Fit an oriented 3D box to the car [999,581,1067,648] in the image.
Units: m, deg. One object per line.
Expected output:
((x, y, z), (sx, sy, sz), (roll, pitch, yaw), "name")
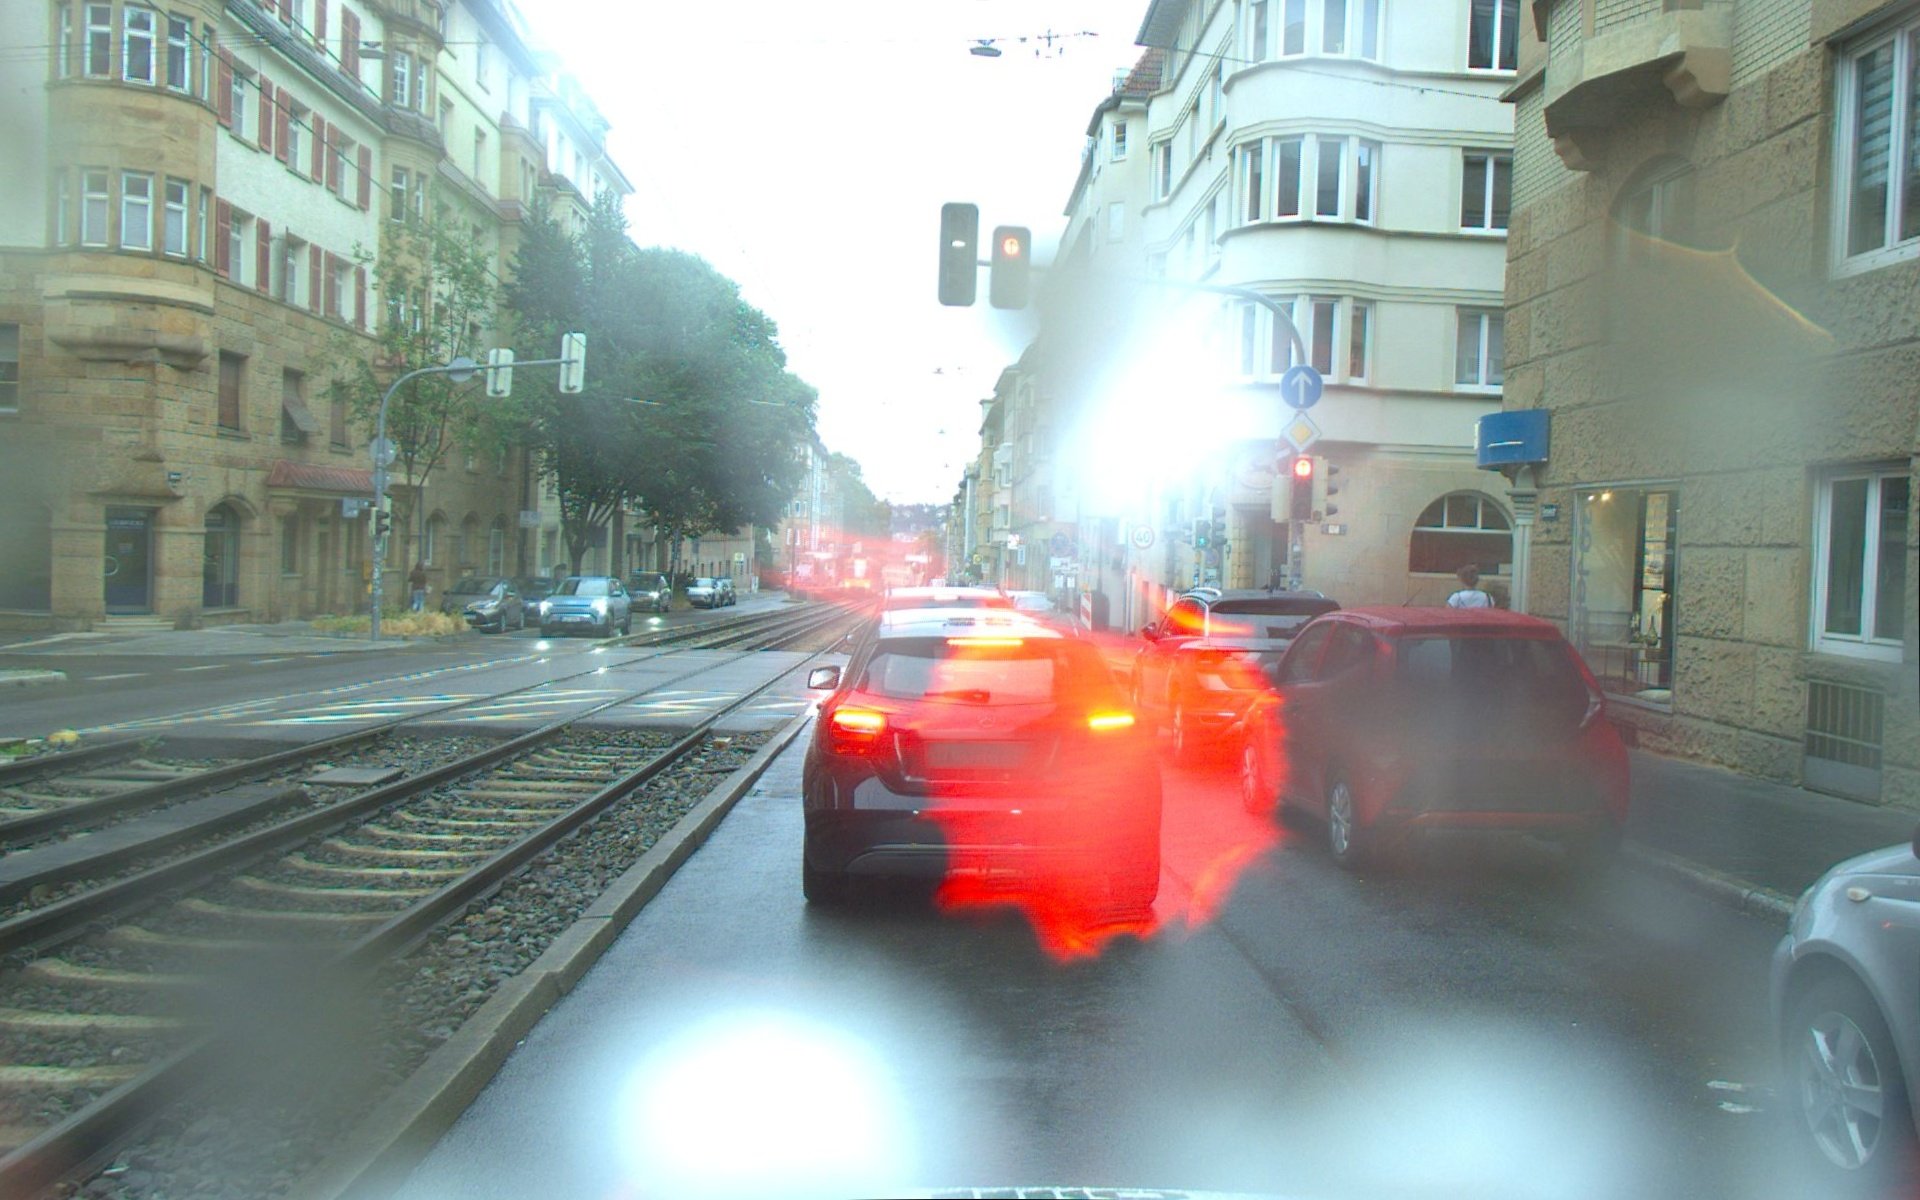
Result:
((1.842, 0.349, 42.658), (1.513, 1.618, 3.547), (1, 0, -1), "car")

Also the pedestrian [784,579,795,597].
((-18.760, -1.331, 182.210), (1.031, 1.992, 1.043), (2, 0, 0), "pedestrian")

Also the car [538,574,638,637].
((-10.044, 0.147, 44.919), (1.860, 1.615, 3.972), (1, 0, -1), "car")

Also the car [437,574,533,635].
((-13.009, 0.131, 45.488), (1.718, 1.579, 4.032), (1, 0, -4), "car")

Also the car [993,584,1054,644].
((1.772, 0.376, 47.132), (1.513, 1.618, 3.547), (1, 0, -1), "car")

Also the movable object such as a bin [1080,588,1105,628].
((4.767, 0.300, 59.635), (0.859, 1.413, 0.983), (1, -1, 3), "movable object such as a bin")

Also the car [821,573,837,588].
((-12.049, -1.784, 152.371), (1.349, 1.271, 3.296), (1, 0, -2), "car")

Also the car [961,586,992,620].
((0.727, 0.129, 73.598), (1.268, 1.467, 2.928), (1, 0, -1), "car")

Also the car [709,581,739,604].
((-14.020, -0.438, 98.363), (1.419, 1.354, 3.270), (1, 0, -3), "car")

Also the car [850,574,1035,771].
((-0.174, 0.619, 15.826), (1.533, 1.637, 3.813), (1, 0, -1), "car")

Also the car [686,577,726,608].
((-13.652, -0.382, 88.958), (1.557, 1.608, 3.917), (1, 0, -1), "car")

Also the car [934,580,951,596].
((-2.024, -1.405, 195.305), (1.953, 1.909, 3.999), (1, 0, -1), "car")

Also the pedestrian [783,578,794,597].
((-18.767, -1.385, 181.117), (1.031, 1.992, 1.043), (2, 0, 0), "pedestrian")

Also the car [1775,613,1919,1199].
((3.126, 0.789, 3.093), (1.581, 1.493, 3.312), (0, 0, 0), "car")

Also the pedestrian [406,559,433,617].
((-15.860, -0.351, 48.522), (0.619, 1.702, 0.701), (1, -1, -10), "pedestrian")

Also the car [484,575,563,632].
((-13.273, 0.112, 50.514), (1.683, 1.639, 3.914), (1, 0, -5), "car")

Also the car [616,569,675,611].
((-13.558, -0.410, 71.497), (1.837, 1.767, 3.917), (1, 0, -1), "car")

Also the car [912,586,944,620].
((-1.630, 0.120, 84.296), (1.513, 1.664, 3.686), (1, 0, 0), "car")

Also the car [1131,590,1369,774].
((2.633, 0.677, 15.788), (1.513, 1.512, 3.829), (1, 0, -1), "car")

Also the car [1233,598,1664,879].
((2.908, 0.749, 10.552), (1.609, 1.473, 3.297), (1, 0, -3), "car")

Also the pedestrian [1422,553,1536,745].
((4.994, 0.459, 15.967), (0.726, 1.778, 1.111), (1, -1, -1), "pedestrian")

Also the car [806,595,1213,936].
((0.193, 0.734, 9.443), (1.792, 1.483, 4.103), (1, 0, -1), "car")

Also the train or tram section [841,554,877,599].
((-9.288, -2.102, 153.053), (2.726, 3.928, 10.427), (1, 0, -1), "train or tram section")

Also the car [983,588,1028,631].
((1.667, 0.324, 61.540), (1.513, 1.512, 3.547), (1, 0, -1), "car")
